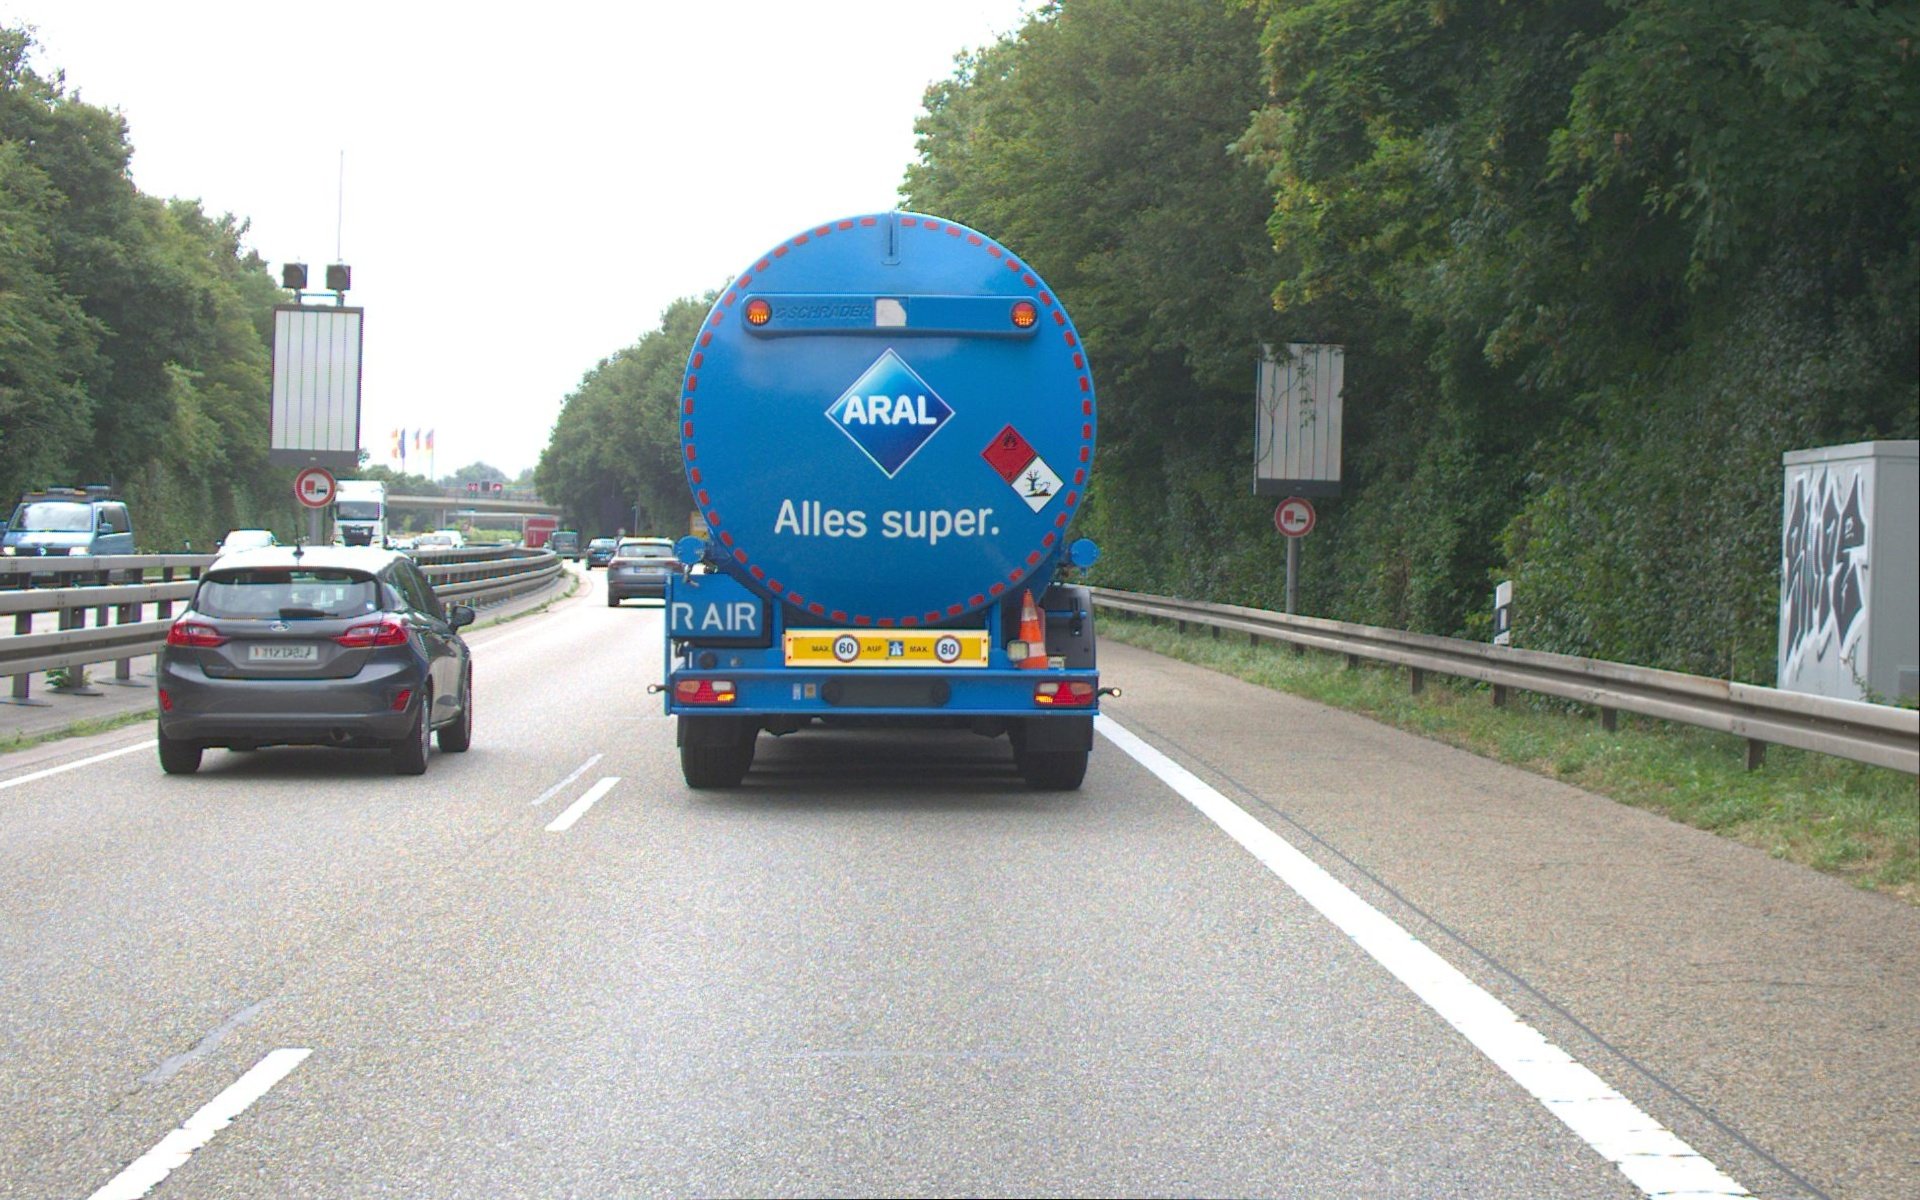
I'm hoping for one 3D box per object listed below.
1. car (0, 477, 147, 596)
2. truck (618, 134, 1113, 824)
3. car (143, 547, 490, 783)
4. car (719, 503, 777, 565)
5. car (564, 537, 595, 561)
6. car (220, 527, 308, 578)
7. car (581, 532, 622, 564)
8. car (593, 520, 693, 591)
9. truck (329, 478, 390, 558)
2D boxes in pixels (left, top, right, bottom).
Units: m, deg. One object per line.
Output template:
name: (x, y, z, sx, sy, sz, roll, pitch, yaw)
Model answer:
car: (-17.975, -1.264, 69.541, 1.935, 2.313, 5.305, 0, 1, -2)
truck: (-0.653, -0.742, 22.984, 2.755, 3.833, 7.689, 0, 1, -2)
car: (-4.300, 0.373, 23.597, 1.826, 1.453, 4.640, 0, 1, -4)
car: (-7.720, -2.387, 125.218, 1.993, 2.237, 4.000, 0, 1, -2)
car: (-25.021, -3.324, 225.897, 1.993, 1.546, 4.001, 0, 1, -6)
car: (-20.676, -1.400, 102.266, 1.993, 1.476, 4.132, 0, 1, -3)
car: (-17.738, -2.588, 170.143, 1.954, 1.562, 4.001, 0, 1, -5)
car: (-7.403, -1.046, 80.689, 1.826, 1.604, 4.167, 0, 1, 2)
truck: (-30.650, -4.160, 175.609, 2.692, 4.049, 5.323, 0, 1, -5)
